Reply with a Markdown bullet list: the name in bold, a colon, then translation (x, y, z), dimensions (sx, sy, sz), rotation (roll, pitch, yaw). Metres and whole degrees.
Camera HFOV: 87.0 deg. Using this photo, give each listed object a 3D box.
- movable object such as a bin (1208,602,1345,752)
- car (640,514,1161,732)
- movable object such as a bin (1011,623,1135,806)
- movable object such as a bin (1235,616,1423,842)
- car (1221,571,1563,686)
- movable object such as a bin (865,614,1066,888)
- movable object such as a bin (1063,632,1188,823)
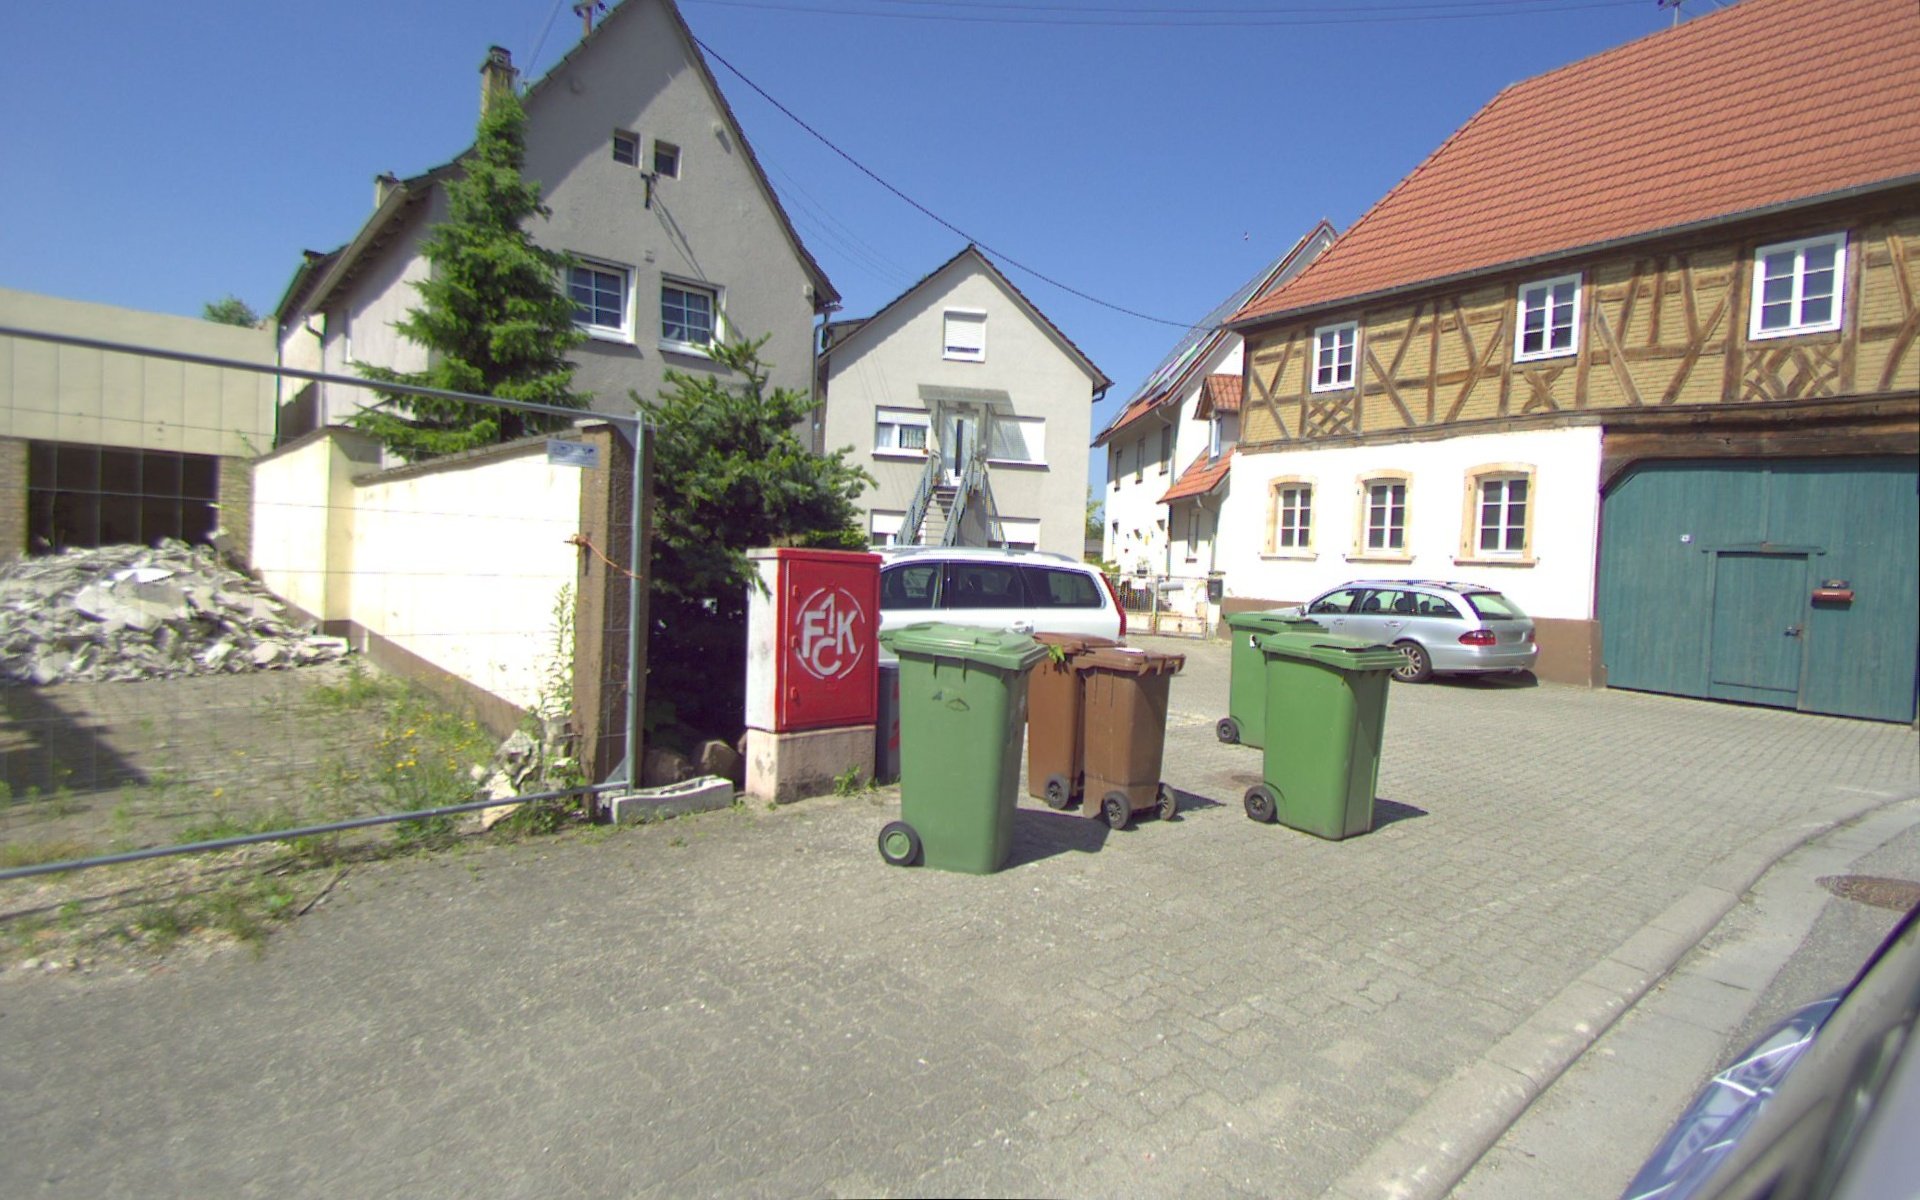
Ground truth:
- **movable object such as a bin**: translation (2.579, 0.597, 8.258), dimensions (0.742, 1.094, 0.722), rotation (2, 3, -40)
- **car**: translation (-0.470, 0.174, 9.053), dimensions (4.210, 1.546, 1.820), rotation (2, 3, -30)
- **movable object such as a bin**: translation (0.664, 0.647, 5.967), dimensions (0.487, 0.982, 0.466), rotation (2, 3, -37)
- **movable object such as a bin**: translation (2.052, 0.677, 5.658), dimensions (0.626, 1.105, 0.689), rotation (2, 3, -36)
- **car**: translation (6.724, 0.358, 16.339), dimensions (1.961, 1.470, 4.771), rotation (2, 1, -33)
- **movable object such as a bin**: translation (0.046, 0.650, 4.710), dimensions (0.750, 1.085, 0.670), rotation (4, 2, 13)
- **movable object such as a bin**: translation (0.915, 0.681, 5.621), dimensions (0.454, 0.961, 0.446), rotation (1, 3, -36)
